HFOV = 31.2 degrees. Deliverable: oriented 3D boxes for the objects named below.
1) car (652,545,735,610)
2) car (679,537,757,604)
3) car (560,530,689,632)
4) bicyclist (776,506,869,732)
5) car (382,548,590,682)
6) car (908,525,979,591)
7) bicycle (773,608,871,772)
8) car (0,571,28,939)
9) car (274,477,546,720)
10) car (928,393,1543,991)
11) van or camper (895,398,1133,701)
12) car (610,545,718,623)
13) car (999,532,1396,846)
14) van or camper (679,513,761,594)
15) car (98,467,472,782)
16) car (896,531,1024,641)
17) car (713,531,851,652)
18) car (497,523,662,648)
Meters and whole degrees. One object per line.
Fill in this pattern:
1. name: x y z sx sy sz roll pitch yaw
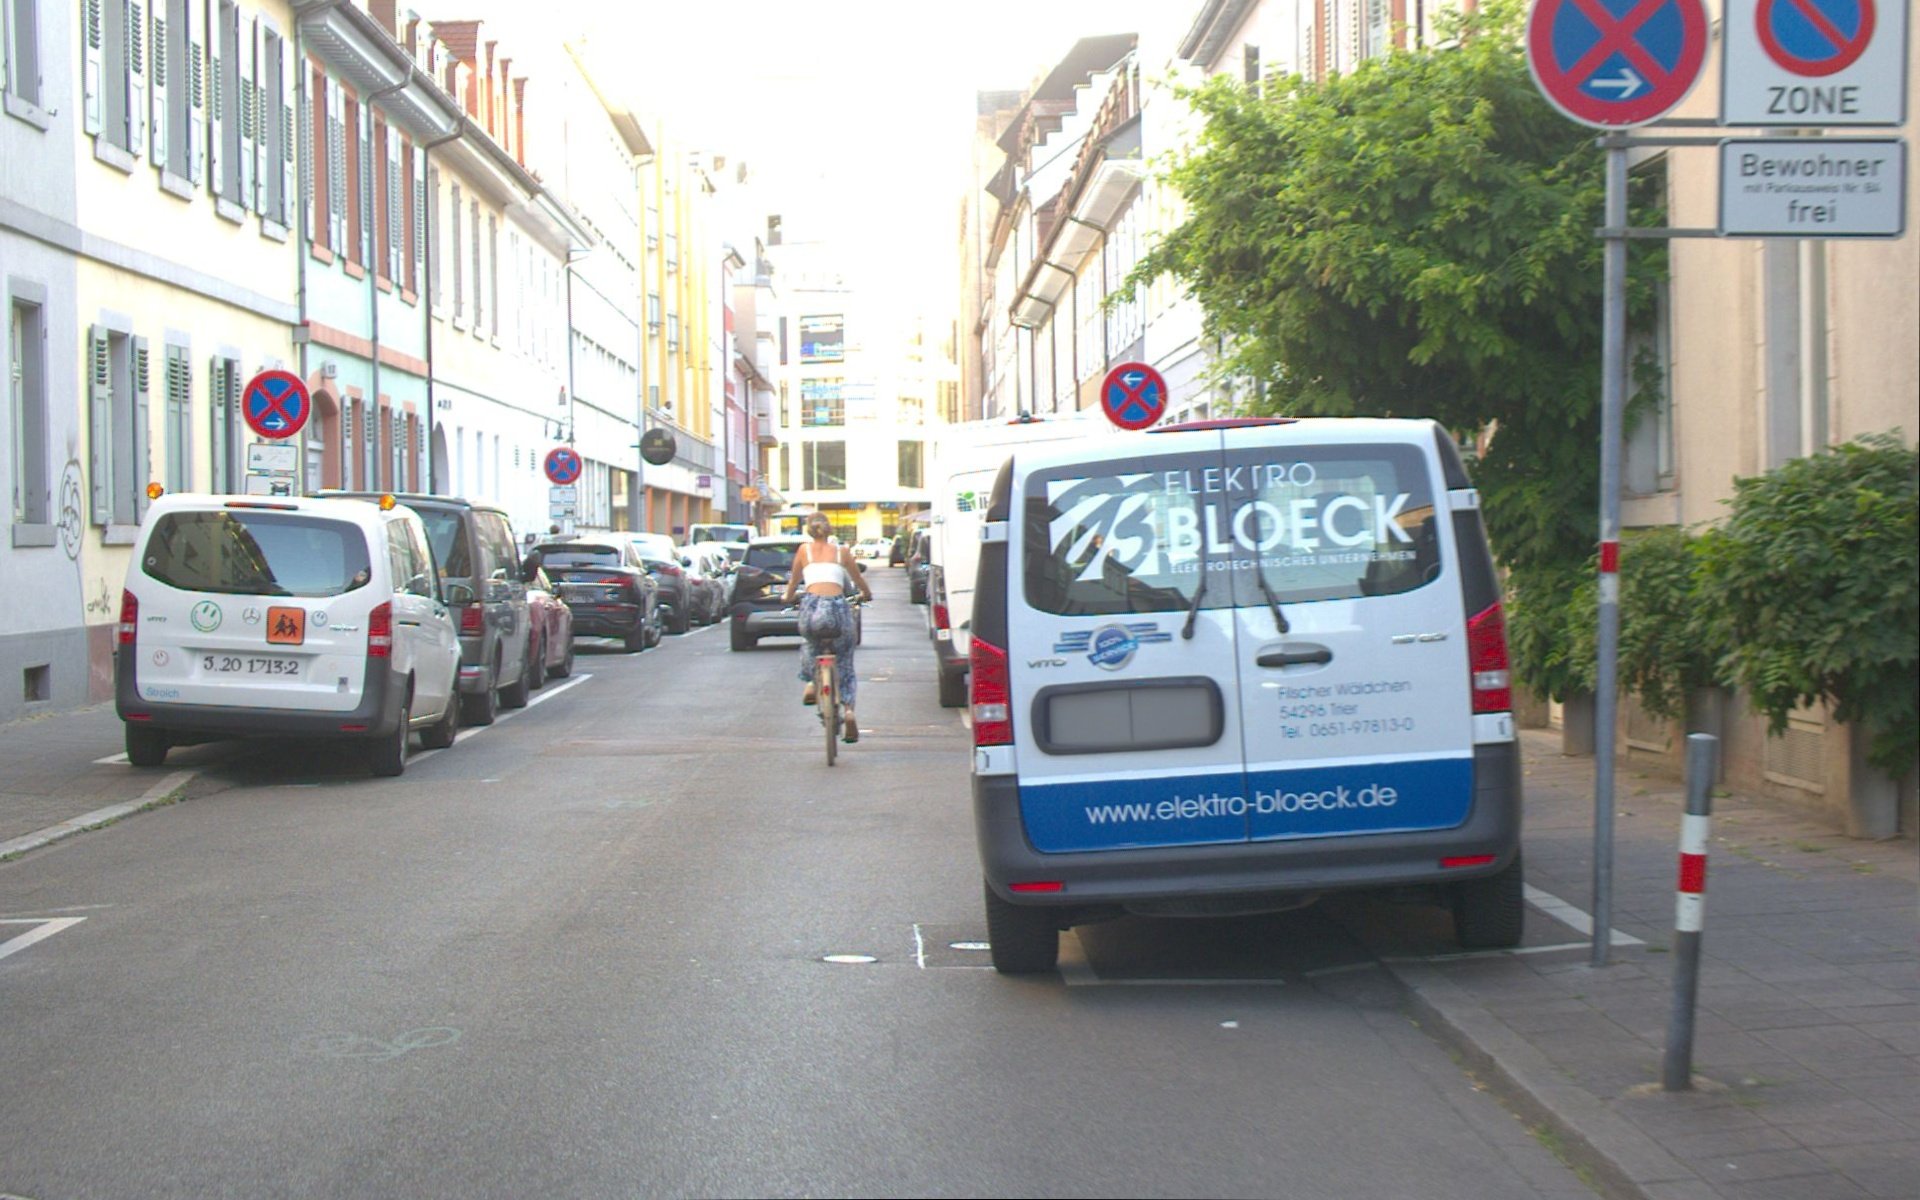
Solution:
1. car: -6.022 -0.527 78.046 1.653 1.406 3.606 1 1 -1
2. car: -5.823 -0.726 83.026 1.653 1.555 3.606 1 1 -1
3. car: -5.829 -0.366 60.237 1.997 1.701 4.536 1 1 -2
4. bicyclist: -0.960 0.125 24.181 0.621 1.569 0.683 0 1 0
5. car: -5.205 0.122 38.220 1.765 1.397 4.263 0 1 -1
6. car: -0.416 -1.024 83.345 1.653 1.555 3.606 1 1 -1
7. bicycle: -0.958 0.612 24.194 0.613 1.078 1.809 0 1 0
8. car: -4.540 0.600 11.960 1.662 1.444 3.521 3 1 -1
9. car: -4.896 -0.061 31.199 1.862 2.007 4.814 -1 1 -2
10. car: 0.989 0.244 13.665 1.936 1.891 5.276 -1 1 2
11. van or camper: 0.466 -0.513 33.680 2.050 2.628 7.063 -1 1 0
12. car: -5.692 -0.332 66.489 1.918 1.429 4.294 1 1 -3
13. car: 1.177 0.394 18.573 1.654 1.500 3.754 -1 1 -3
14. van or camper: -6.166 -1.211 88.863 1.844 2.006 4.678 1 1 -1
15. car: -4.726 0.107 24.800 1.862 2.007 5.107 -1 1 -2
16. car: 0.012 -0.251 53.818 1.819 1.525 5.071 -4 1 0
17. car: -2.454 -0.146 48.278 1.819 1.612 4.000 1 1 -1
18. car: -5.346 -0.239 48.785 1.803 1.671 4.490 -1 1 0
